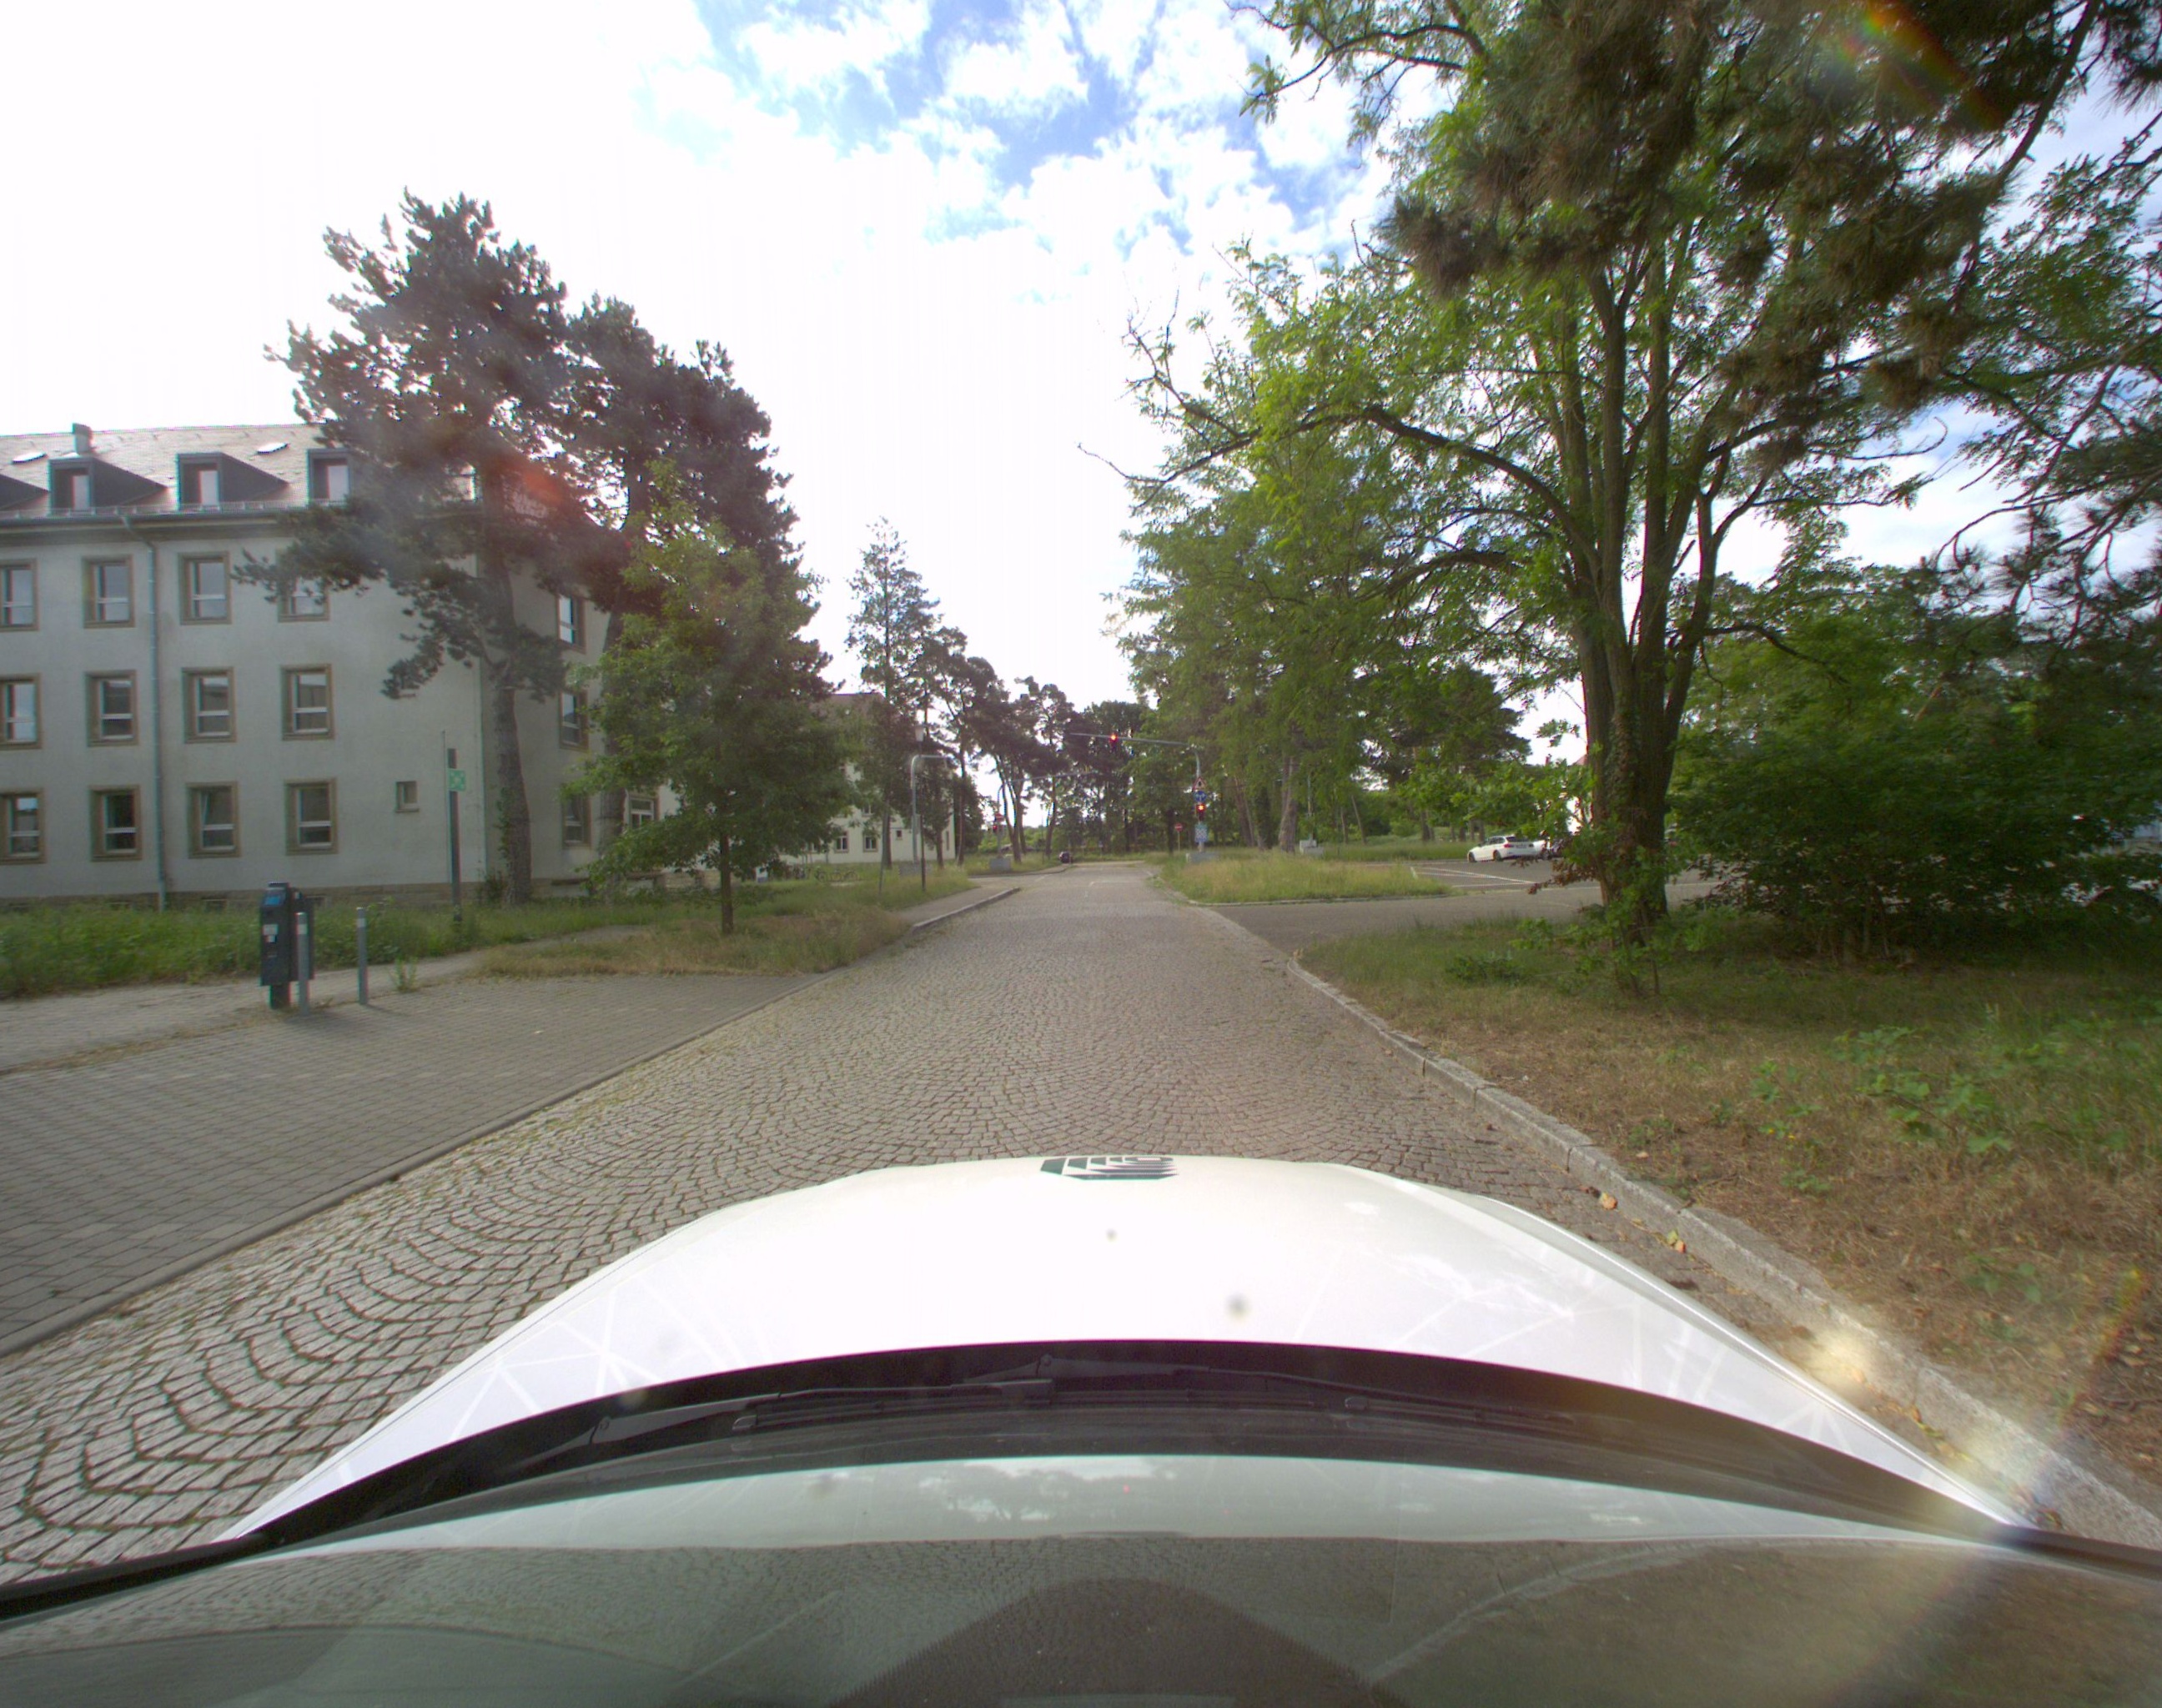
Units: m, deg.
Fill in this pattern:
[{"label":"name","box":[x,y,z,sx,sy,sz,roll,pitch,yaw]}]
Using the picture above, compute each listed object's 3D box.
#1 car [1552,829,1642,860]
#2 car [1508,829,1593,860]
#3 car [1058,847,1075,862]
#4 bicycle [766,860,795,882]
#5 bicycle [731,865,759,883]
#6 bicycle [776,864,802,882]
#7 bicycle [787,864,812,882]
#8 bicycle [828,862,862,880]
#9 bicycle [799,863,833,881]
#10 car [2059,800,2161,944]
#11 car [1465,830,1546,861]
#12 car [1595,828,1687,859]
[{"label":"car","box":[28.184,-0.481,44.661,1.988,1.481,4.422,-2,-1,-2]},{"label":"car","box":[25.514,-0.455,44.431,1.988,1.481,4.422,-2,-1,-2]},{"label":"car","box":[-1.859,0.079,108.486,2.048,1.846,4.001,-2,0,1]},{"label":"bicycle","box":[-19.568,1.093,53.024,0.733,1.385,2.713,-2,0,2]},{"label":"bicycle","box":[-21.748,1.270,52.764,0.733,1.076,2.274,-2,0,2]},{"label":"bicycle","box":[-18.834,1.218,52.651,0.733,1.076,2.274,-2,0,2]},{"label":"bicycle","box":[-18.191,1.190,52.716,0.733,1.076,2.274,-2,0,2]},{"label":"bicycle","box":[-14.869,1.083,51.423,1.848,1.076,0.832,-2,0,3]},{"label":"bicycle","box":[-16.752,1.137,51.429,1.848,1.076,0.739,-2,0,3]},{"label":"car","box":[11.553,0.198,6.920,1.640,1.427,4.074,1,0,1]},{"label":"car","box":[22.999,-0.431,44.311,1.988,1.481,4.422,-2,-1,-2]},{"label":"car","box":[30.860,-0.527,45.074,1.988,1.523,4.422,-1,-1,-2]}]
